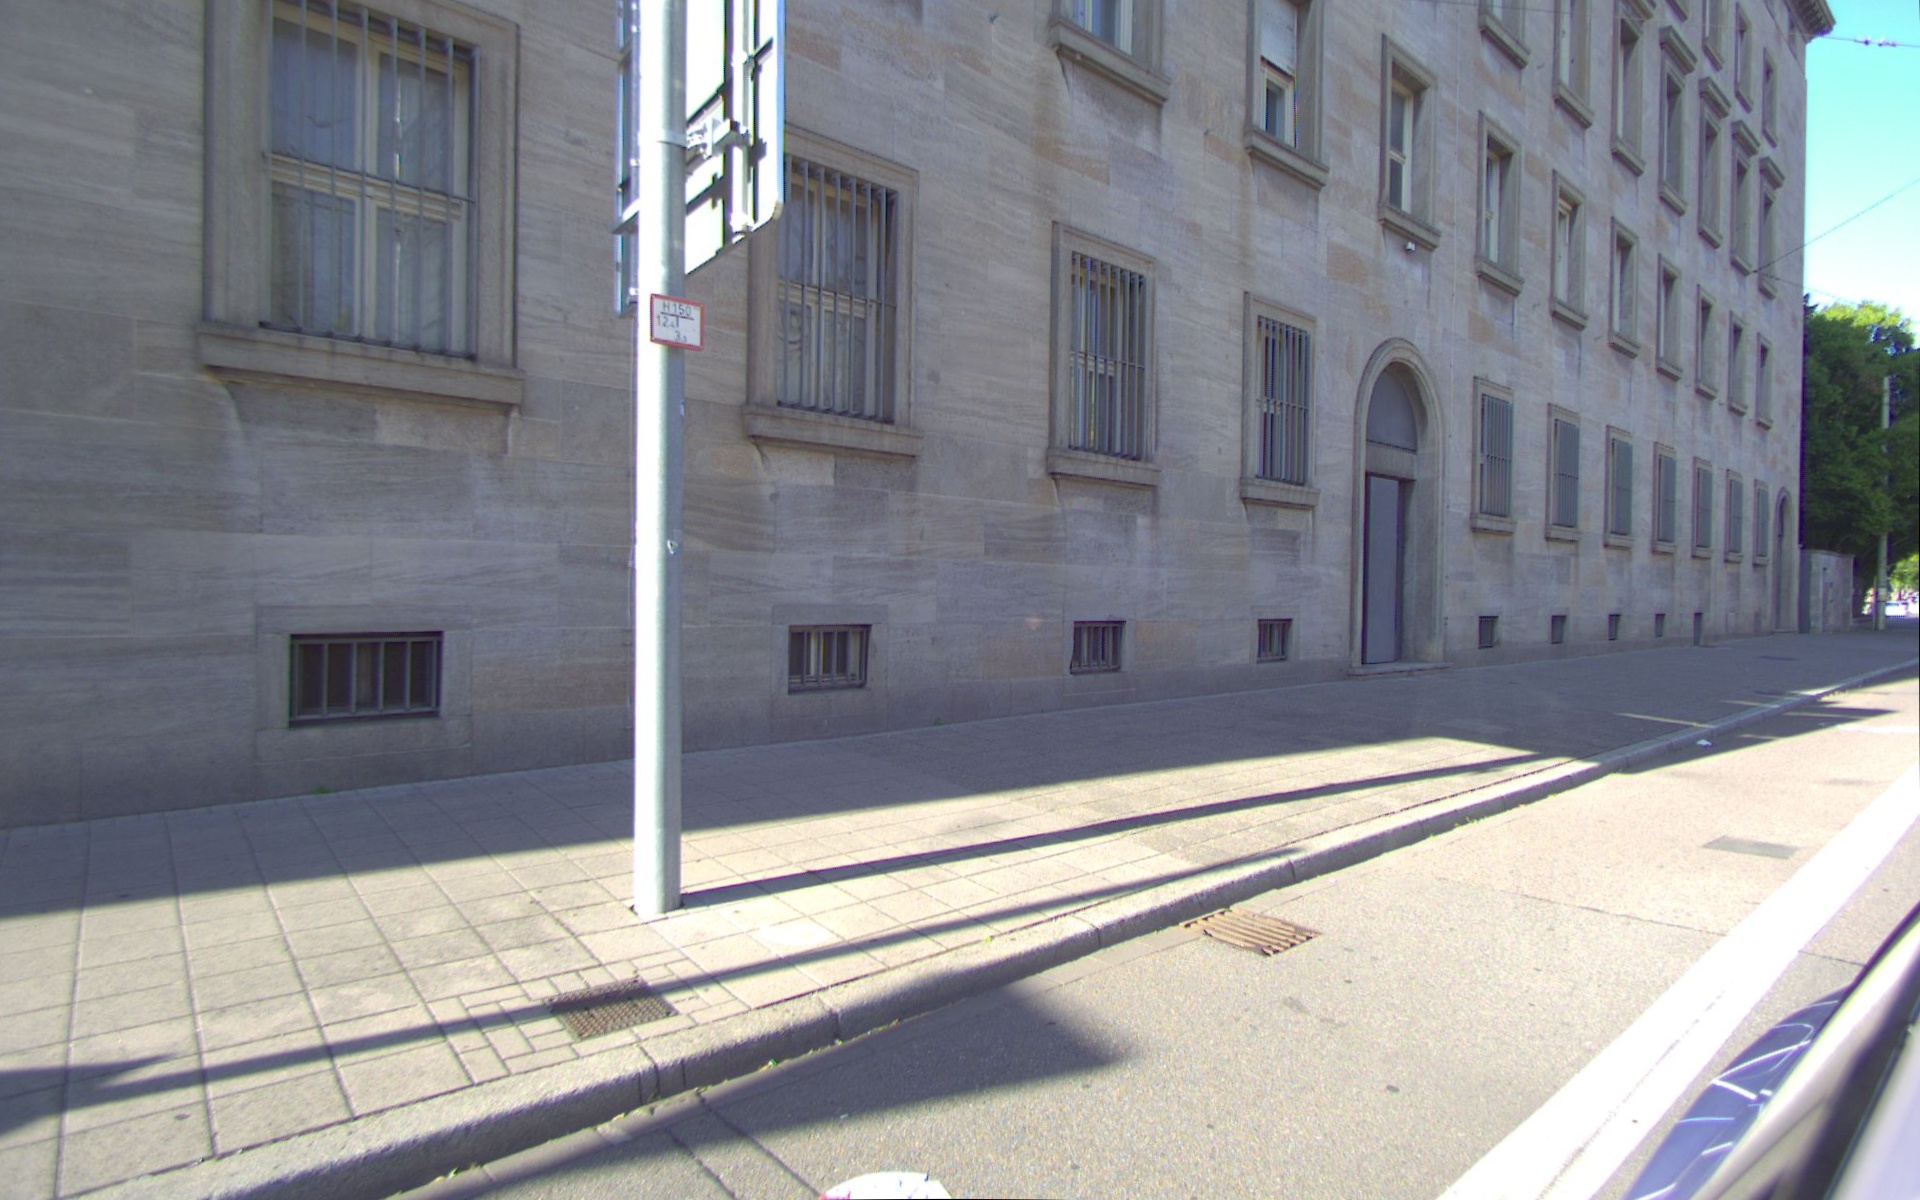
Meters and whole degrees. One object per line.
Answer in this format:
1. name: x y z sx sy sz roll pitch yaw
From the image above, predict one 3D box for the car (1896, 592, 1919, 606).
1. car: 97.386 -0.120 103.895 1.765 1.455 3.777 2 1 41
